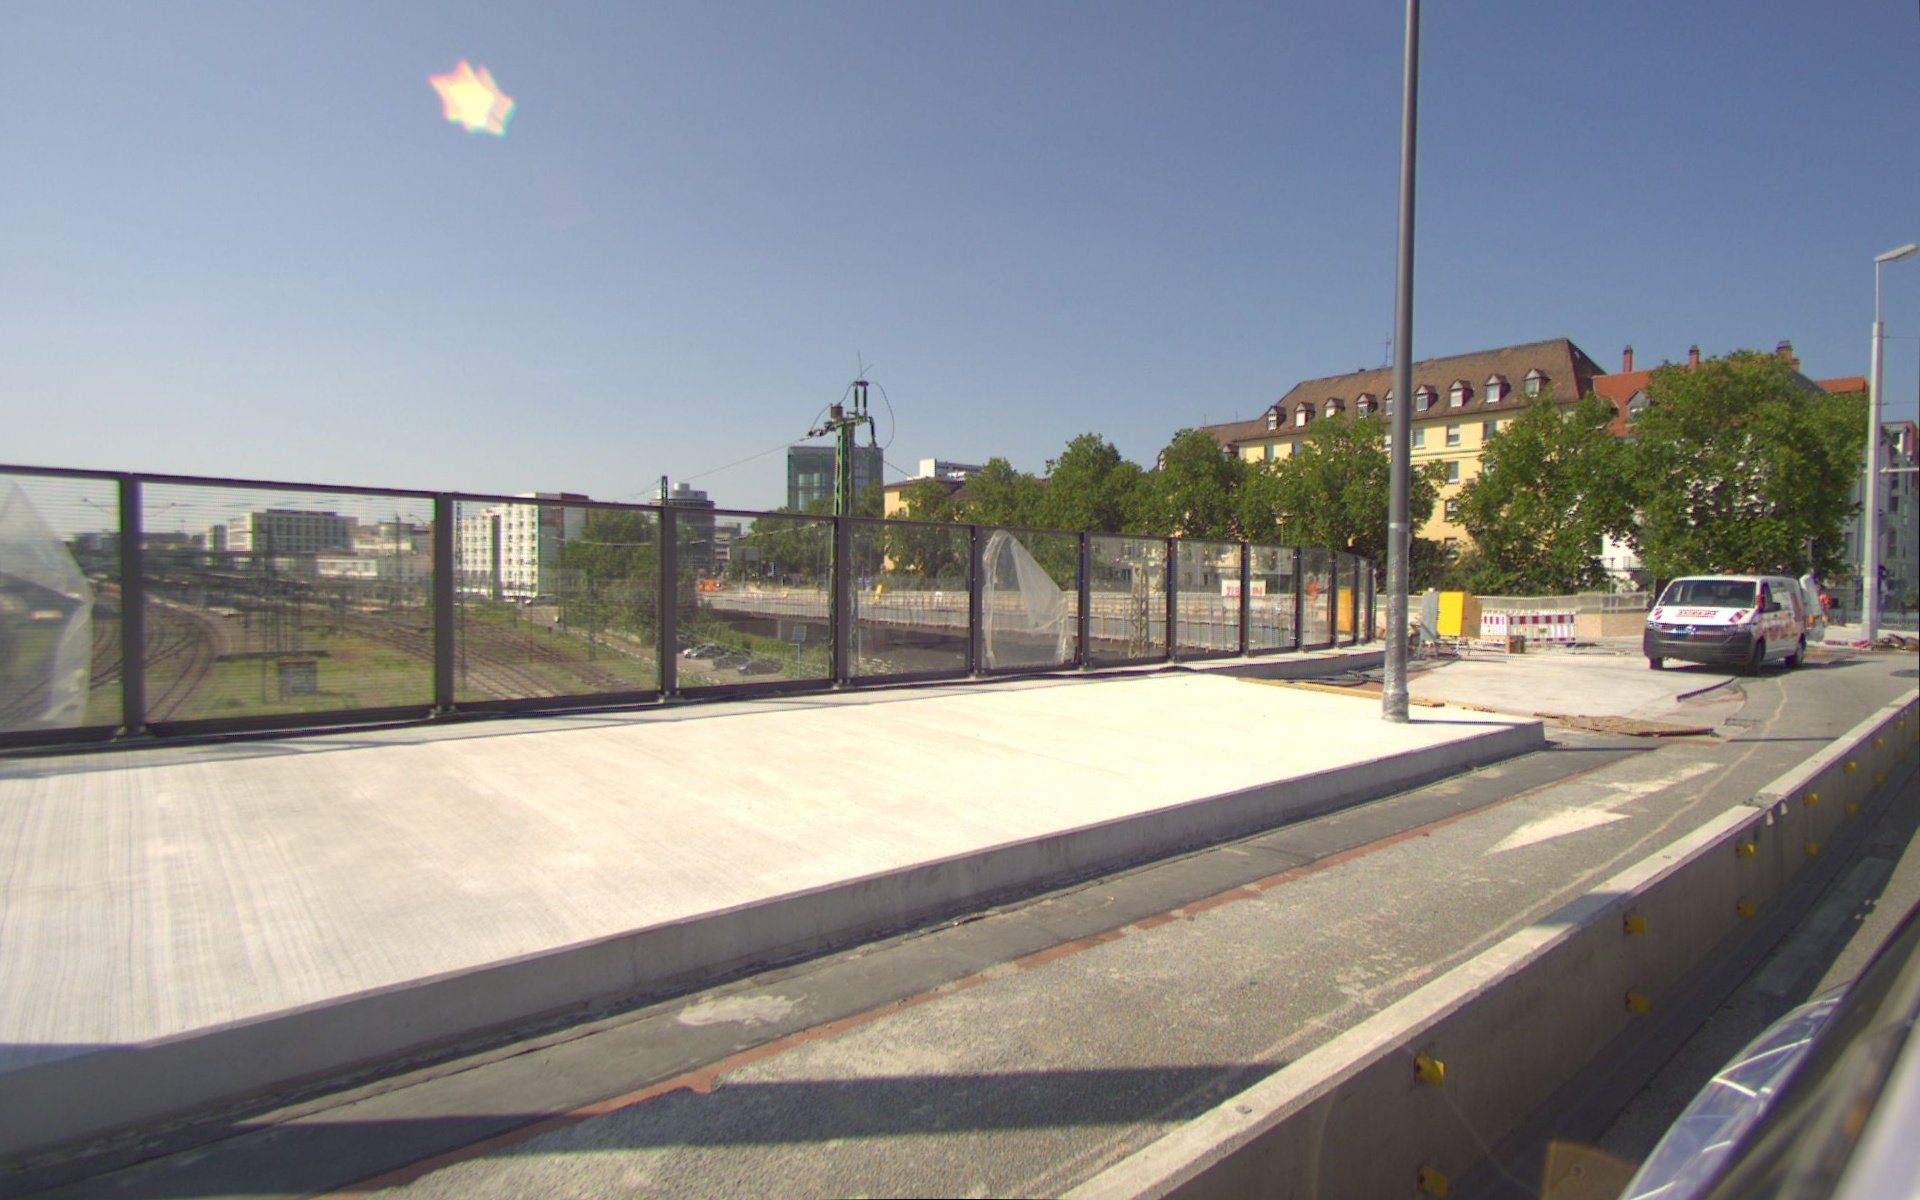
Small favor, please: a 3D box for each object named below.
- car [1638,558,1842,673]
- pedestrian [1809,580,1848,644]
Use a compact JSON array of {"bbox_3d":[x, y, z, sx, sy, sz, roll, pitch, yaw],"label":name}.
[{"bbox_3d":[16.550,0.195,21.309,6.353,2.116,1.938,-2,2,-39],"label":"car"},{"bbox_3d":[28.075,0.361,32.712,0.828,2.009,0.761,-1,3,-40],"label":"pedestrian"}]
